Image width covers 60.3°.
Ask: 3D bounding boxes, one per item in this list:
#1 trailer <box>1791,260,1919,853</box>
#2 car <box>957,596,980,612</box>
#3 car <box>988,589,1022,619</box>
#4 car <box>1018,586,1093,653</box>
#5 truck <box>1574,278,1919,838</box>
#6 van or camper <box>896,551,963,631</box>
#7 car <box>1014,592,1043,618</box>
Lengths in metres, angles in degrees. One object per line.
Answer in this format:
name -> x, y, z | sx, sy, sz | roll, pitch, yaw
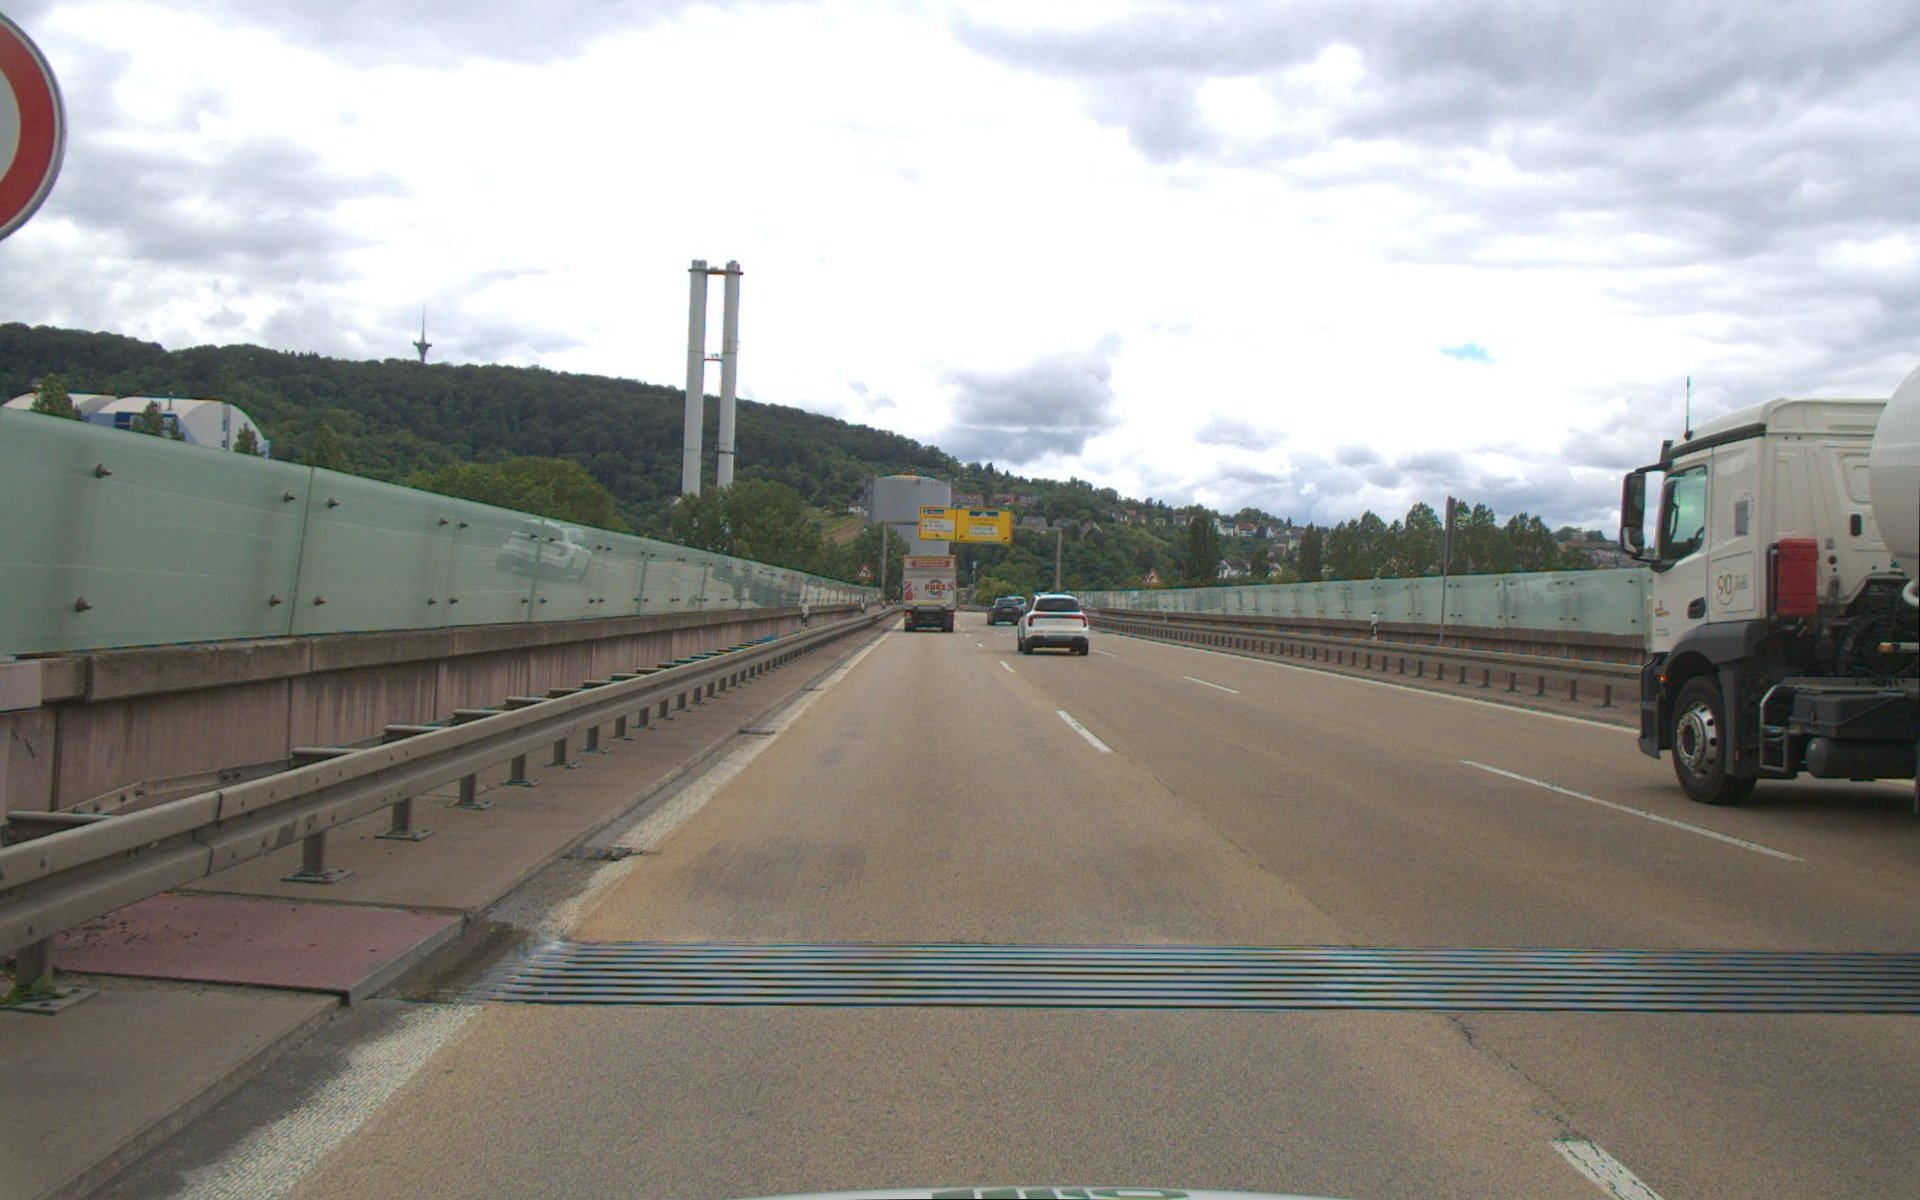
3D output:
trailer -> 7.190, -0.267, 5.965 | 2.596, 3.605, 11.217 | 1, 0, -1
car -> 1.118, 0.527, 222.412 | 2.420, 2.014, 5.164 | 1, 0, 8
car -> 2.754, 0.221, 101.631 | 1.884, 1.817, 4.112 | 1, 0, -1
car -> 2.714, 0.532, 47.898 | 1.884, 1.817, 4.112 | 1, 0, -1
truck -> 7.088, -0.254, 13.052 | 2.577, 3.575, 4.903 | 1, 0, -1
van or camper -> -1.432, -0.397, 80.930 | 3.058, 3.642, 8.549 | 1, 0, 0
car -> 4.961, 0.356, 119.960 | 1.884, 1.817, 4.113 | 1, 0, -1
